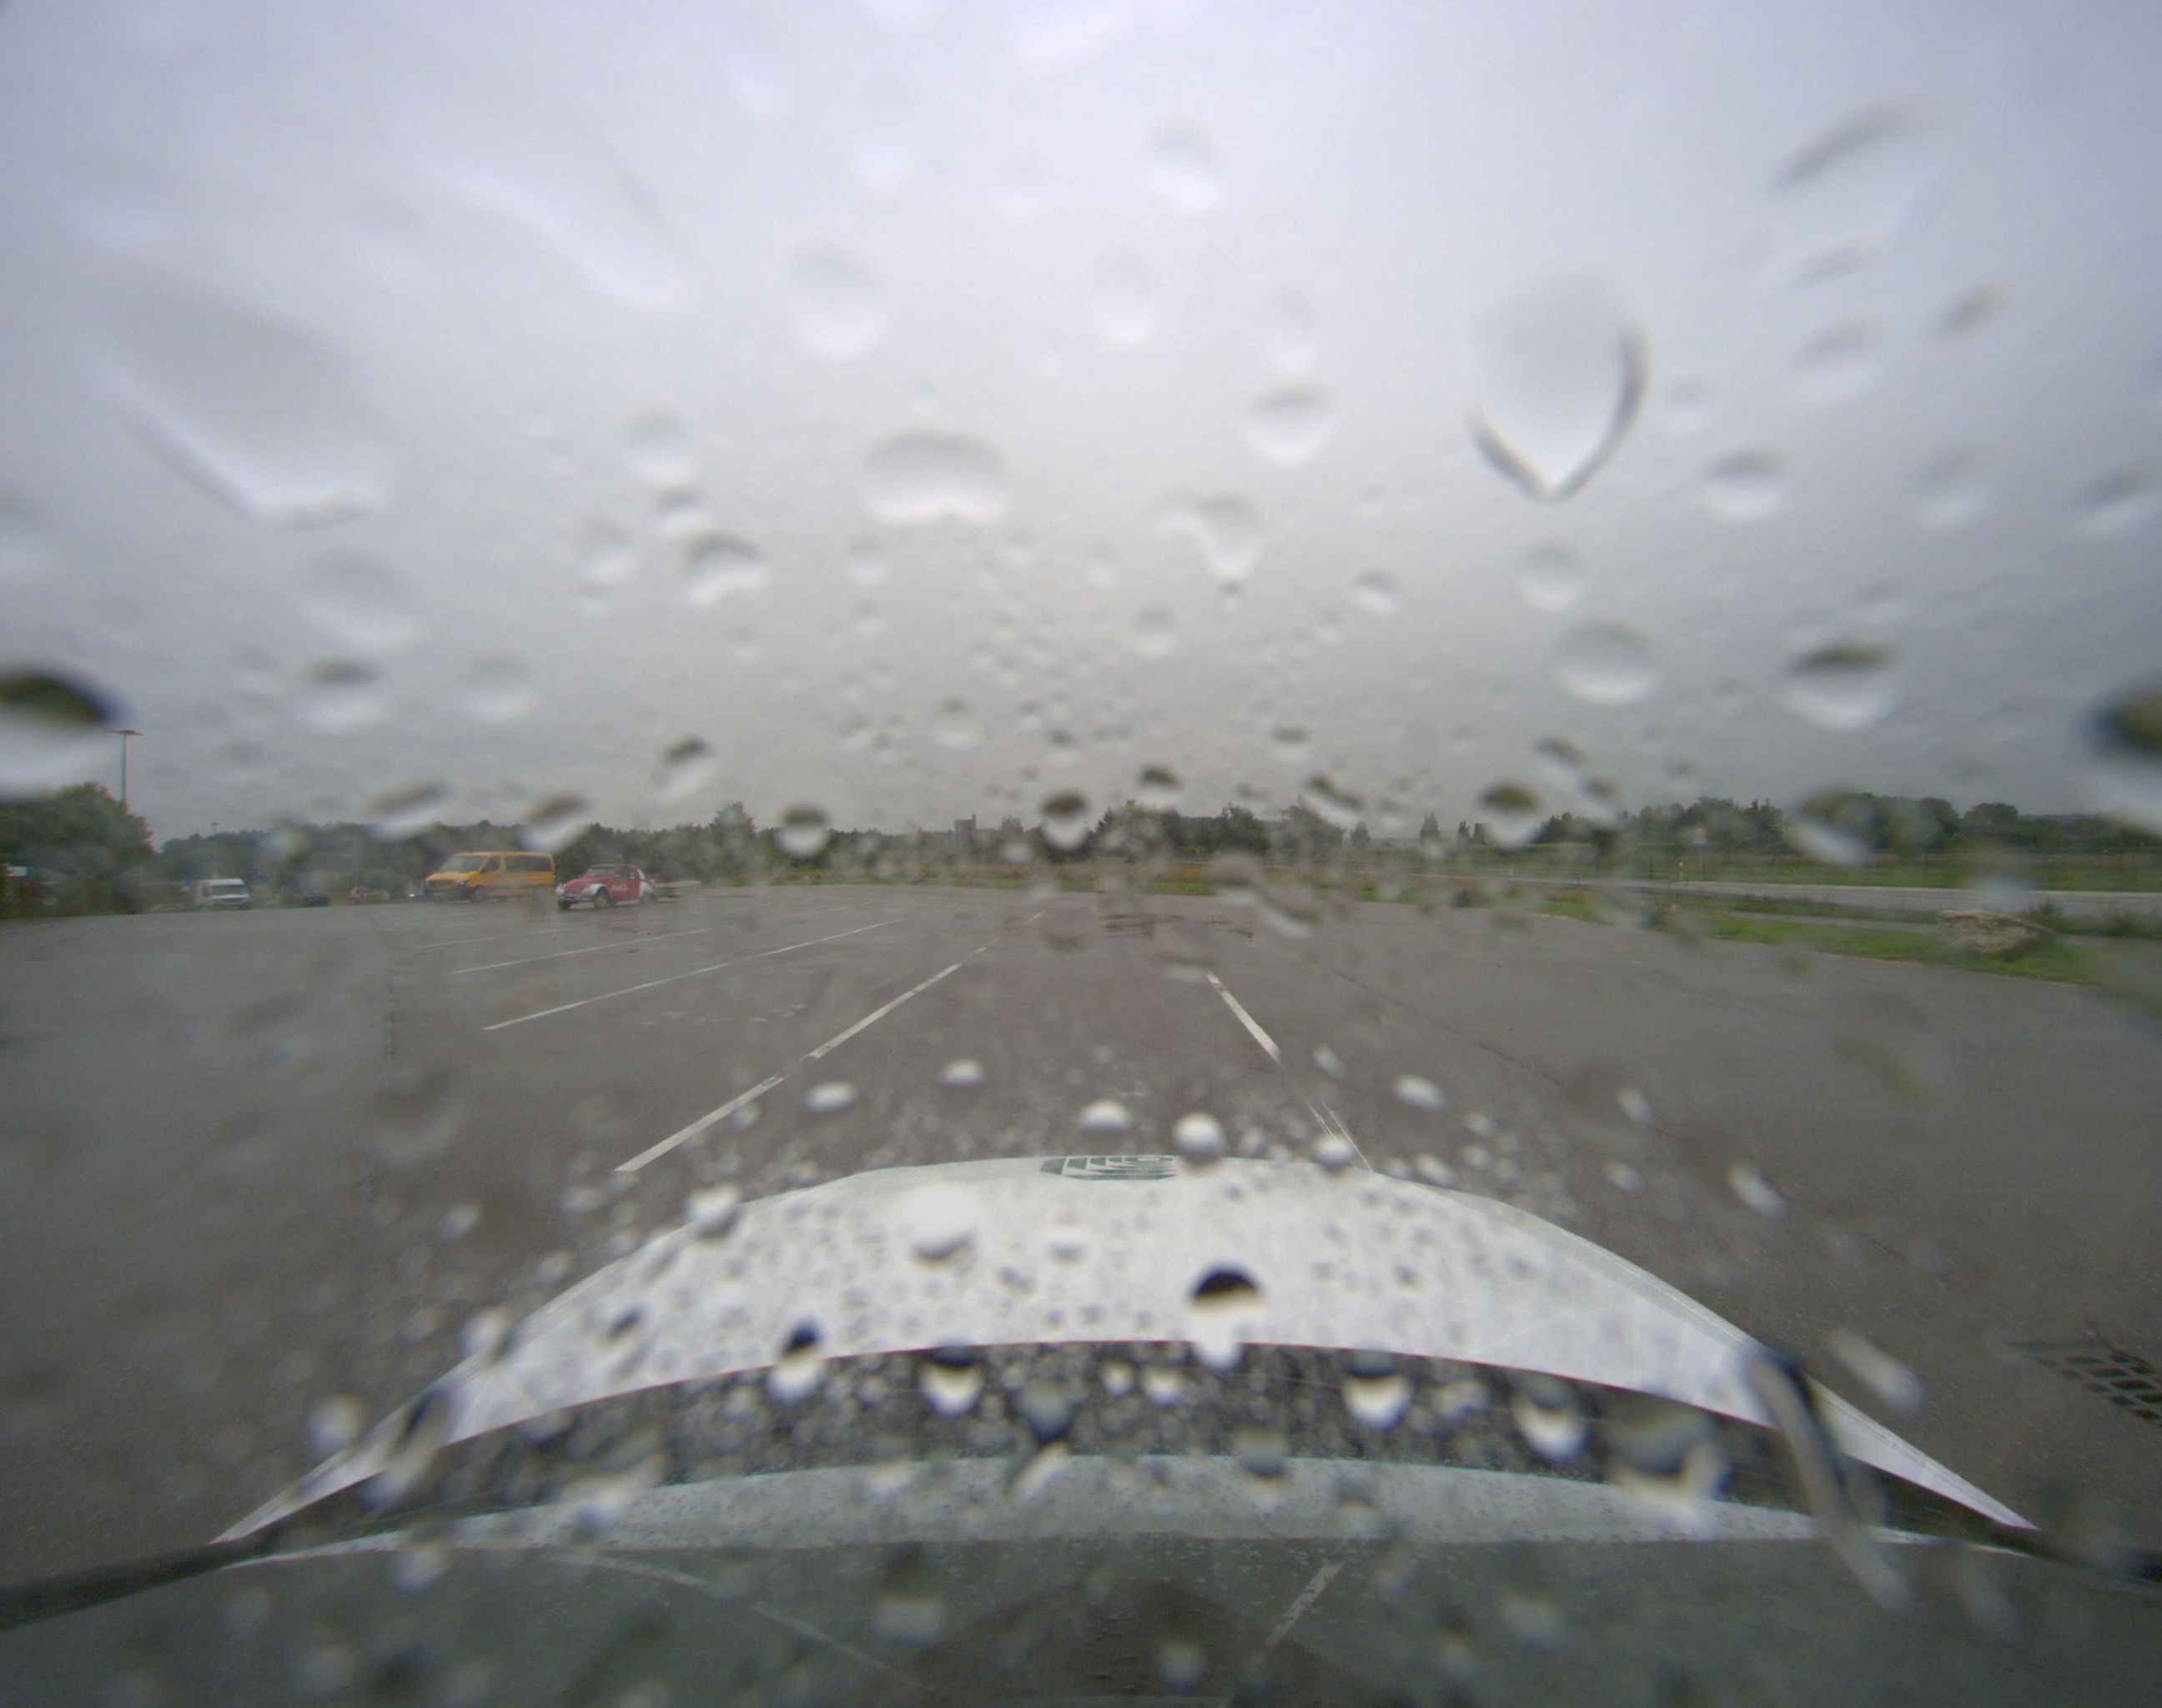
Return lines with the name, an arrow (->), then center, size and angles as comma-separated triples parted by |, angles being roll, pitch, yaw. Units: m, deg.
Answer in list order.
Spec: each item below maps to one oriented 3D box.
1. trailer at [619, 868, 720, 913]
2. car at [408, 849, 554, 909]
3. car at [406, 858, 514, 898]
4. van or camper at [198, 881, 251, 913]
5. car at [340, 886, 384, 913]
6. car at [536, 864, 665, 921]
trailer -> -16.236, 1.389, 32.374 | 1.687, 1.532, 4.005 | -2, 0, 5
car -> -27.028, 1.099, 37.051 | 1.986, 2.380, 6.027 | -3, -1, 1
car -> -36.872, 1.376, 48.526 | 1.977, 2.201, 4.796 | 0, 0, 18
van or camper -> -62.768, 3.129, 59.664 | 3.948, 2.166, 2.013 | -2, -1, 34
car -> -58.605, 3.733, 66.347 | 3.948, 2.013, 1.698 | -3, -1, 34
car -> -16.579, 1.274, 28.368 | 1.813, 1.777, 4.005 | -2, -1, 5
